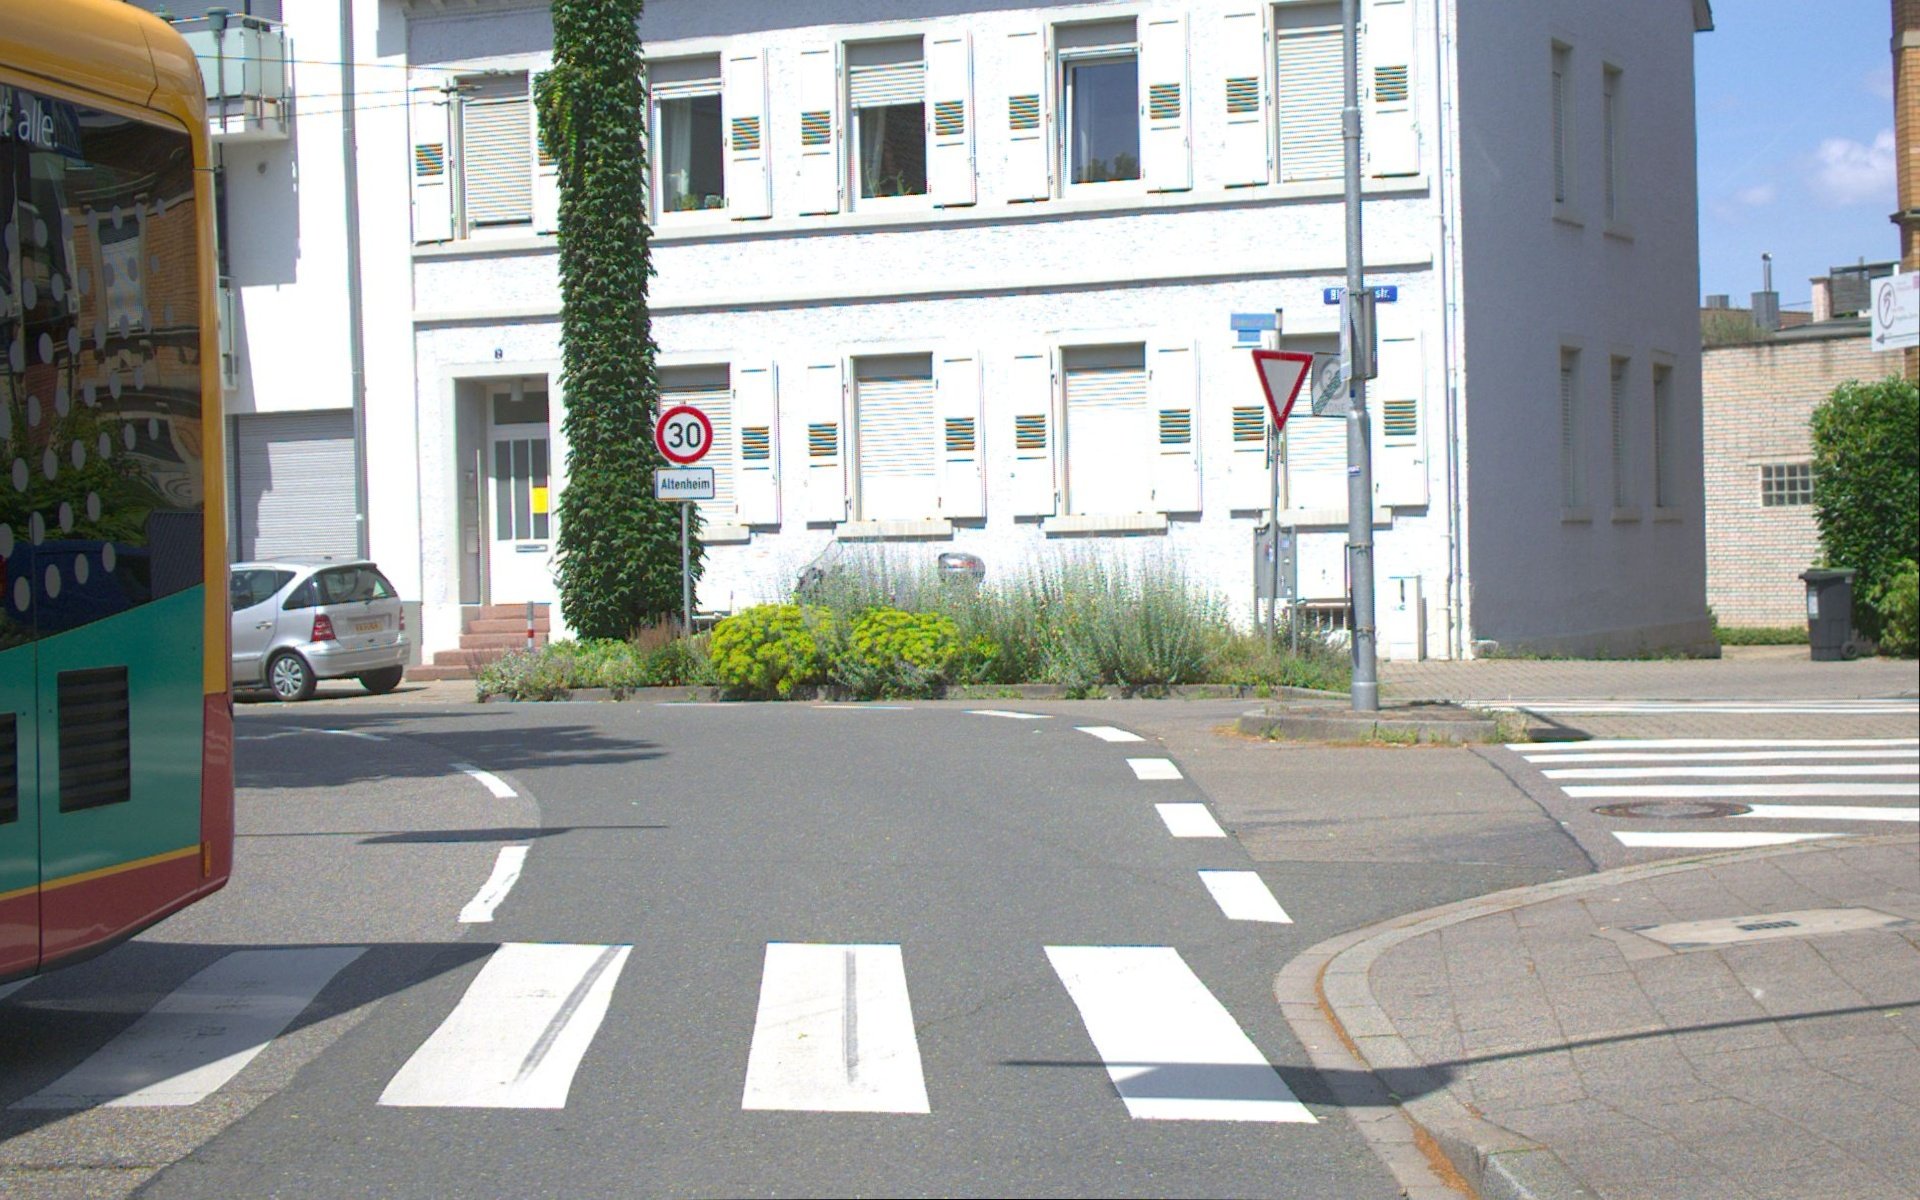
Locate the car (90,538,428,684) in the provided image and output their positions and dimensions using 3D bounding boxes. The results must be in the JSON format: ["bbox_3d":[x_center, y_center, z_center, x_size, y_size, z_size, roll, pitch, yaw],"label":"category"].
[{"bbox_3d":[-7.950,0.116,38.941,3.612,1.581,1.581,0,-1,31],"label":"car"}]

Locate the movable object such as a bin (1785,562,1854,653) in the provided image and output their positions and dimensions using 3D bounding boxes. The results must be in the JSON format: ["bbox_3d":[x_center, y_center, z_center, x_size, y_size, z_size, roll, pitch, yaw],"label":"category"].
[{"bbox_3d":[8.692,0.076,34.771,0.418,0.913,0.560,1,-1,-24],"label":"movable object such as a bin"}]

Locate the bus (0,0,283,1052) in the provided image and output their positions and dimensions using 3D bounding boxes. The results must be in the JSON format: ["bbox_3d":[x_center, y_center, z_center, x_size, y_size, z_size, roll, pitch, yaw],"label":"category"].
[{"bbox_3d":[-4.714,-0.309,5.233,2.781,3.197,12.301,1,2,11],"label":"bus"}]
